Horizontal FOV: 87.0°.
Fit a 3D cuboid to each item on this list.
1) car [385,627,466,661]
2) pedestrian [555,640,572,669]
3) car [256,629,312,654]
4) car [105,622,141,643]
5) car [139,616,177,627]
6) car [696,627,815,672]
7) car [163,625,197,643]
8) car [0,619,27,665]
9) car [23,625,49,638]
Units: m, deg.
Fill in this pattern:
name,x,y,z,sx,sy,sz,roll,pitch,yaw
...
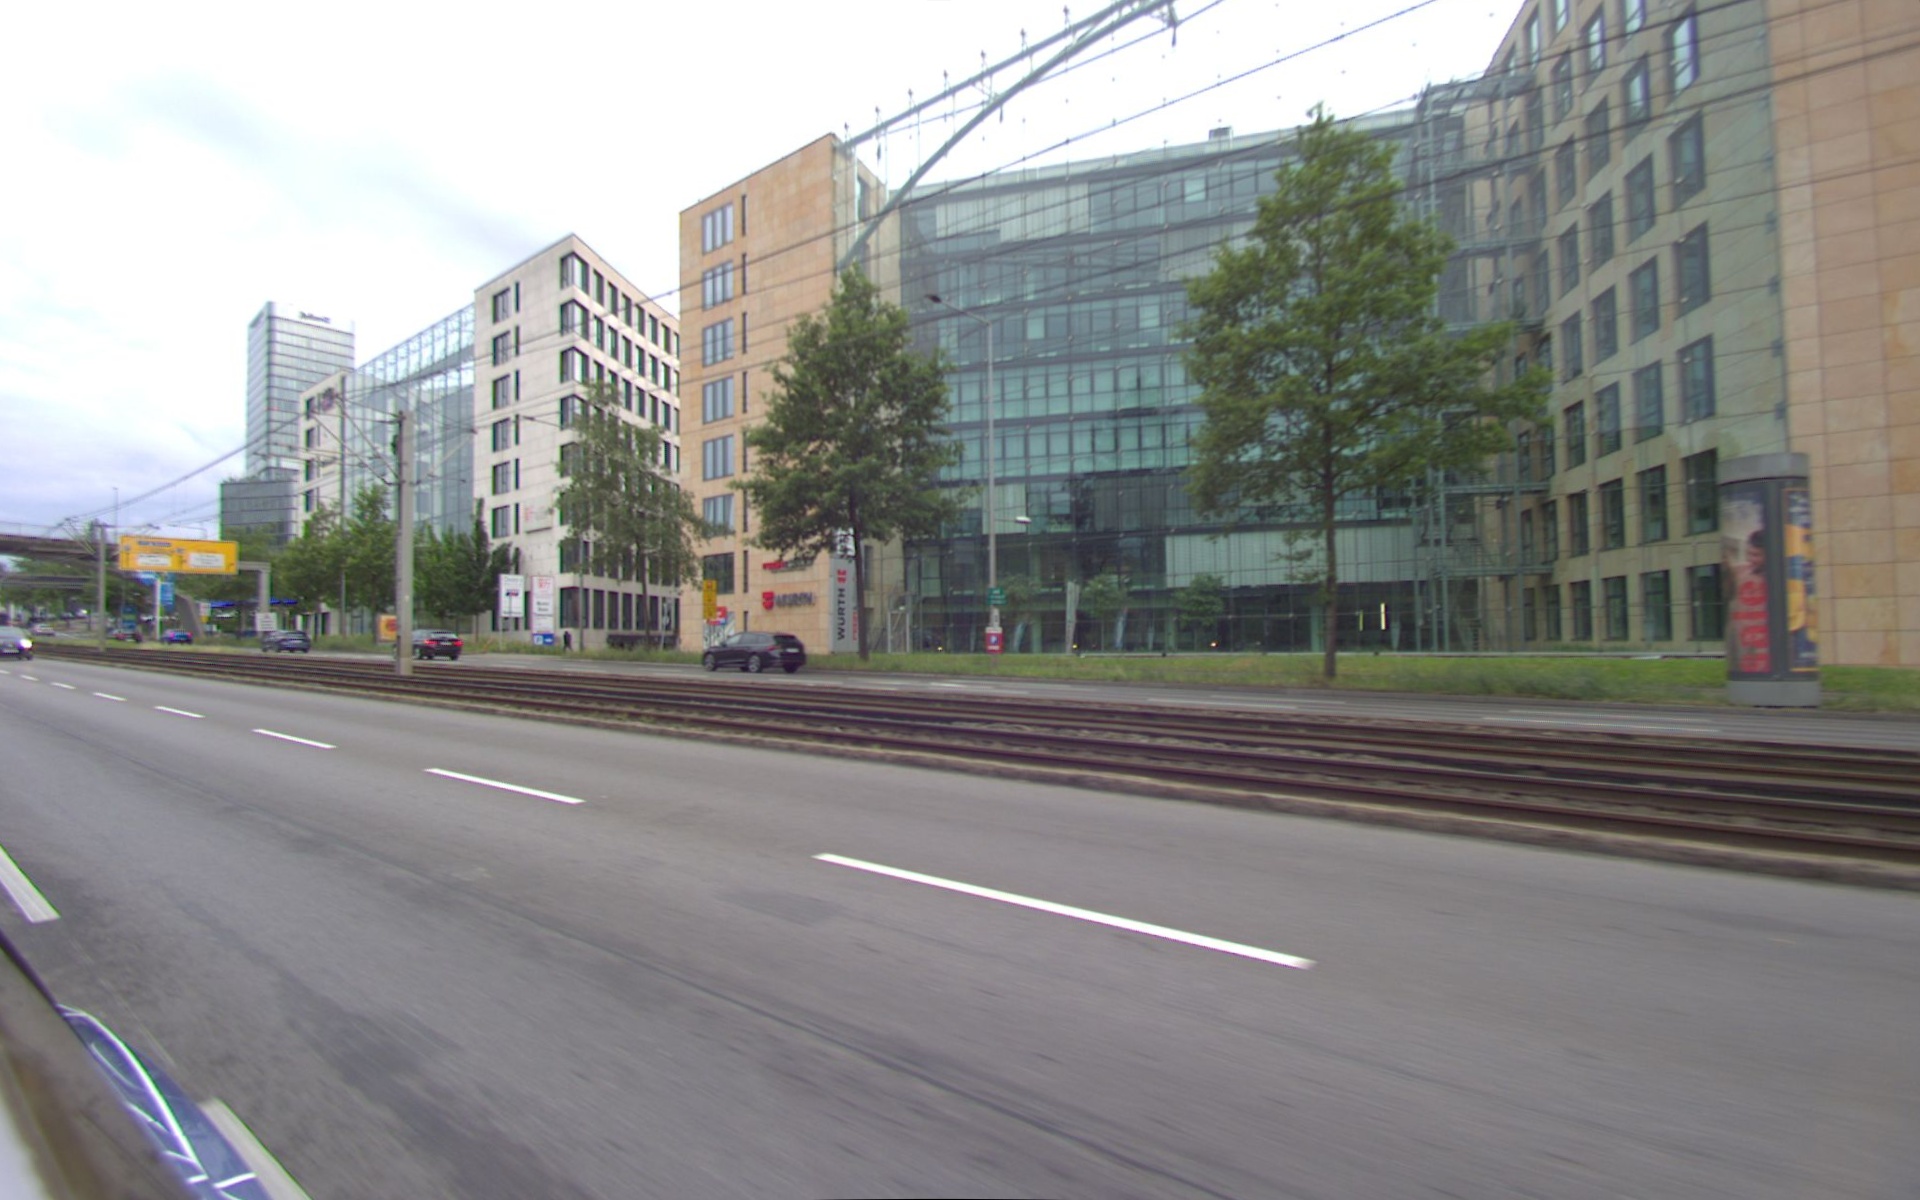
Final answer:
name,x,y,z,sx,sy,sz,roll,pitch,yaw
car,-25.601,2.114,48.410,4.651,1.497,1.821,-2,-5,41
pedestrian,-23.608,3.222,60.270,0.831,1.643,0.635,1,1,38
car,-43.608,2.679,65.239,4.651,1.497,1.821,-2,-5,41
car,-67.713,2.621,81.830,4.200,1.513,1.753,1,1,43
car,-119.054,3.123,150.249,1.885,1.515,4.306,1,1,43
car,-7.340,1.754,36.037,4.428,1.497,1.821,-2,-5,41
car,-72.309,3.162,93.807,4.023,1.465,1.822,1,1,41
car,-43.088,1.860,45.111,4.376,1.882,1.770,1,1,42
car,-111.756,3.820,122.400,4.814,1.545,1.741,-1,0,41
